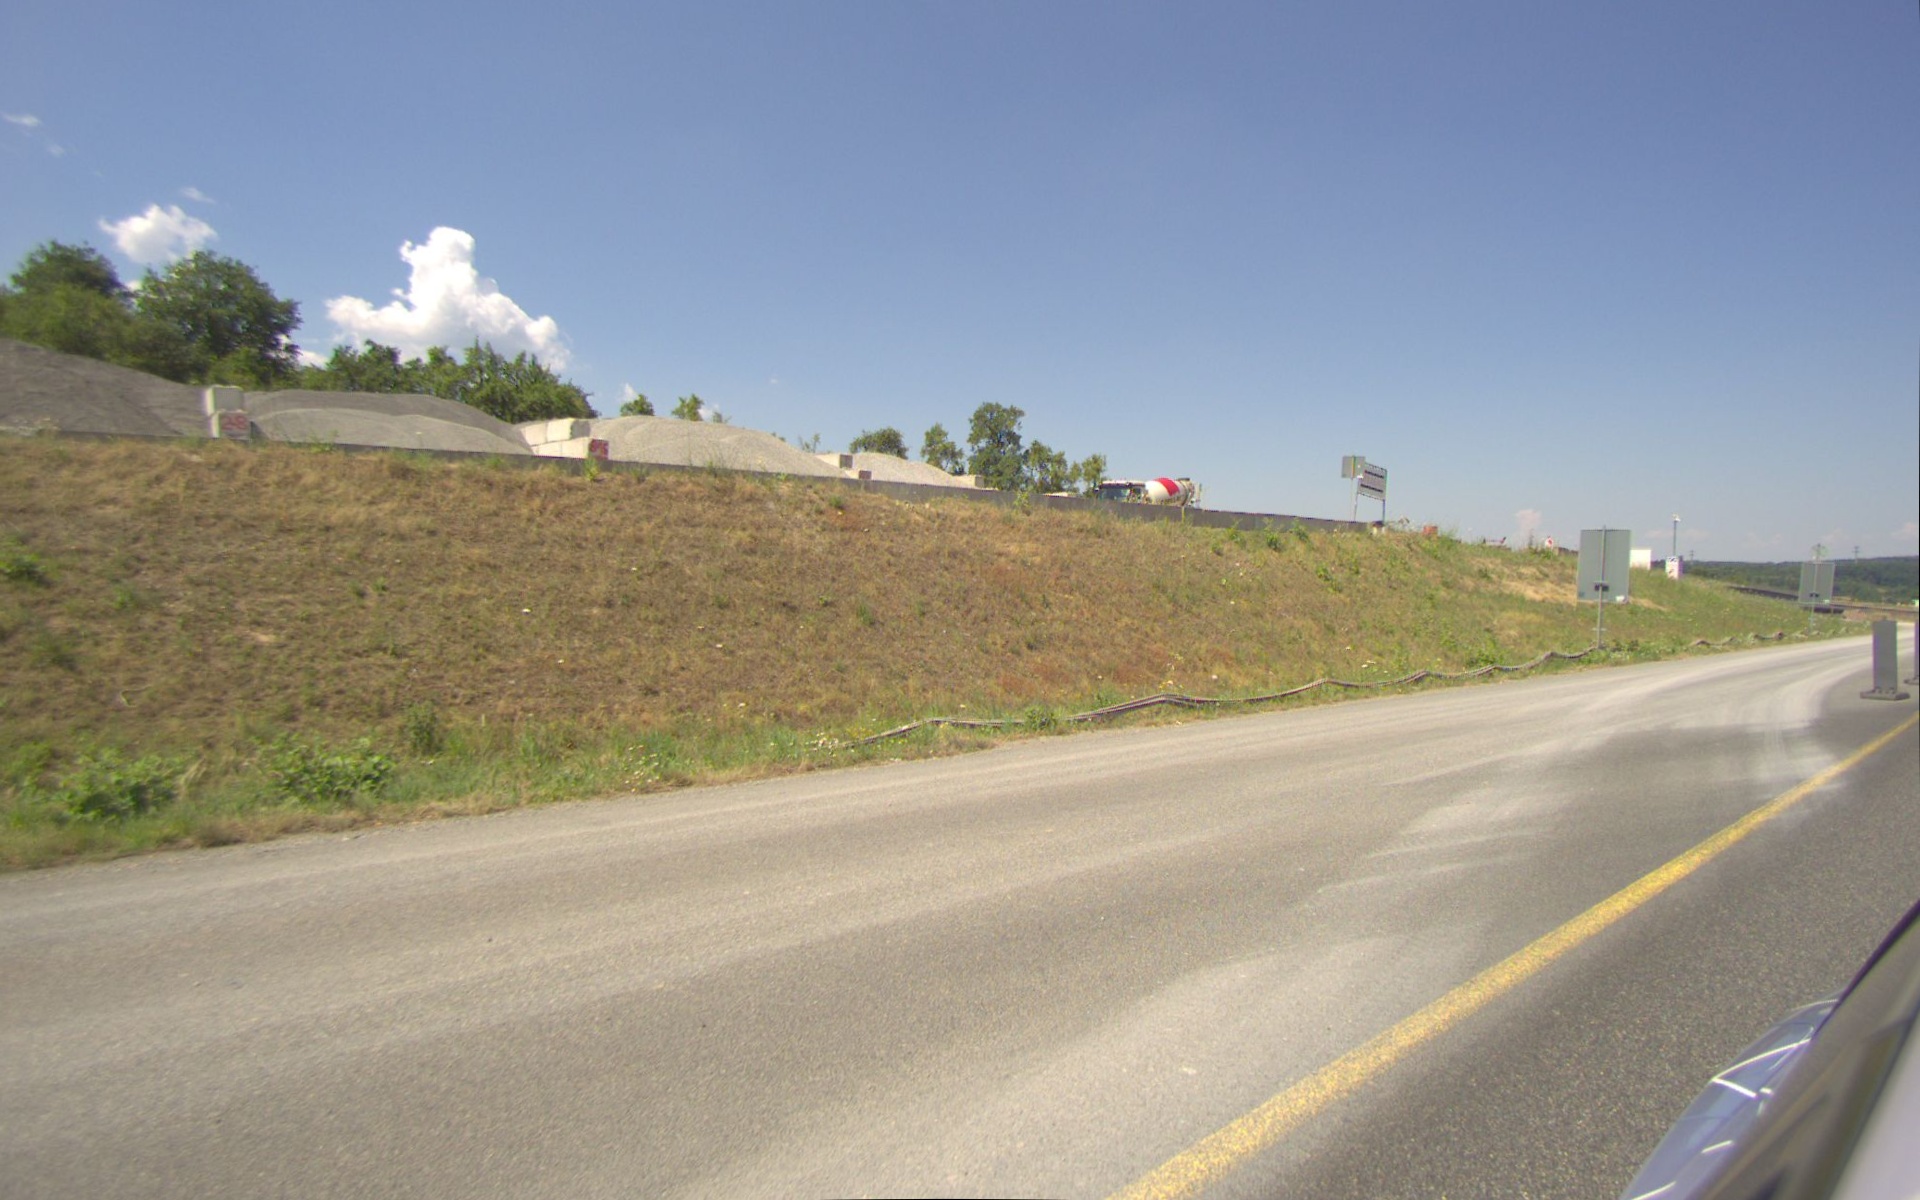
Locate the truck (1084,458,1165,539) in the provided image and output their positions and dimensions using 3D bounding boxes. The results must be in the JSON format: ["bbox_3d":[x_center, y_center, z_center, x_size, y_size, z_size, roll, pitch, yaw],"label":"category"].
[{"bbox_3d":[9.228,-5.566,56.669,2.742,4.147,4.040,1,1,41],"label":"truck"}]

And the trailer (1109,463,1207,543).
[{"bbox_3d":[11.765,-5.598,59.669,2.753,4.166,6.646,1,1,40],"label":"trailer"}]
